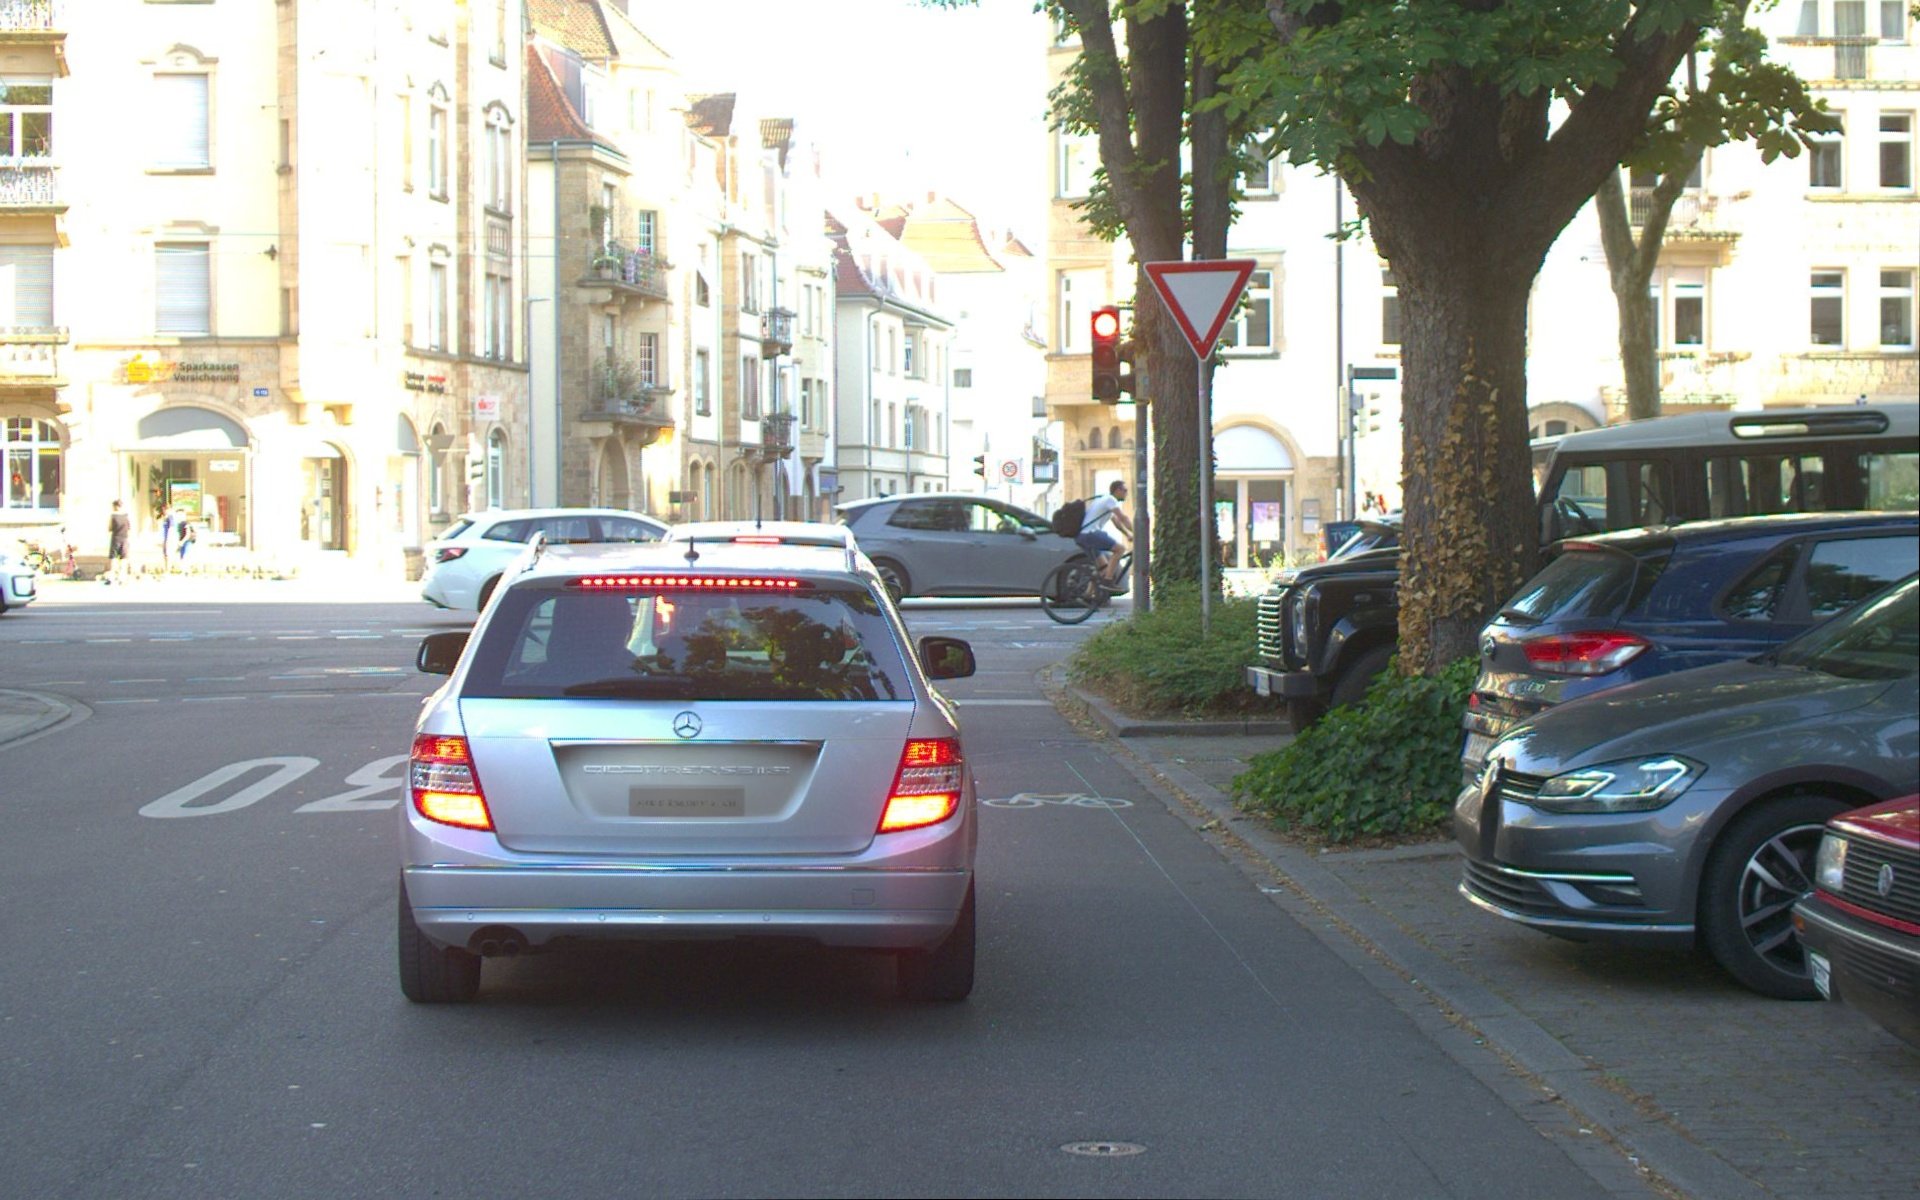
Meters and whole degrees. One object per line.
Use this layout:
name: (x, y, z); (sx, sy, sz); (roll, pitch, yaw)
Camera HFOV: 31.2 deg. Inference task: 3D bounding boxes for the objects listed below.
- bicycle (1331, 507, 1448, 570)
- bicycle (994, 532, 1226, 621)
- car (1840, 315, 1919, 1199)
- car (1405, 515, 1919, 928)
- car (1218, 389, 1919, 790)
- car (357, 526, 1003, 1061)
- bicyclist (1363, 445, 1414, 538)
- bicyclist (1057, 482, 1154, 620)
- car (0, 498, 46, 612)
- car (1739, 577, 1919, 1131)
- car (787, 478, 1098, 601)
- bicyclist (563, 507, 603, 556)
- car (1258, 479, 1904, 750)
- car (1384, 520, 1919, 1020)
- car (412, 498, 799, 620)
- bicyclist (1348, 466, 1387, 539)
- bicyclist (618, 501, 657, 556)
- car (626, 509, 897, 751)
bicycle: (8.631, -1.236, 69.149); (2.256, 1.242, 0.637); (0, 2, -5)
bicycle: (1.811, -0.290, 41.532); (2.682, 1.036, 0.807); (-1, 2, -12)
car: (4.297, 0.328, 6.410); (4.748, 1.868, 1.898); (-2, 1, -6)
car: (3.772, 0.398, 13.459); (3.723, 1.447, 1.709); (-2, 1, -4)
car: (3.792, -0.092, 19.049); (4.464, 2.029, 1.701); (-2, 1, -4)
car: (-0.893, 0.490, 11.784); (1.777, 1.447, 4.549); (0, 2, -3)
bicyclist: (8.609, -2.184, 69.118); (0.891, 1.853, 0.637); (0, 2, -5)
bicyclist: (1.751, -0.598, 41.513); (0.997, 1.648, 0.807); (-1, 2, -12)
car: (-13.739, -0.572, 44.206); (3.685, 1.444, 1.516); (-1, 2, -9)
car: (4.324, 0.566, 8.986); (4.135, 1.311, 1.630); (-2, 1, -6)
car: (-0.261, -0.826, 46.306); (3.965, 1.576, 1.740); (-1, 2, -9)
bicyclist: (-9.015, -1.648, 82.164); (0.771, 1.152, 0.753); (1, 2, 10)
car: (3.907, 0.064, 21.991); (3.723, 1.564, 1.709); (-2, 1, -4)
car: (3.580, 0.459, 11.272); (4.052, 1.447, 1.723); (-2, 1, -4)
car: (-4.437, -0.536, 42.804); (4.660, 1.443, 1.740); (-1, 2, -10)
bicyclist: (8.051, -1.926, 67.911); (0.643, 1.421, 0.637); (0, 2, -6)
bicyclist: (-7.708, -1.711, 82.192); (0.771, 1.285, 0.753); (1, 2, 10)
car: (-1.311, 0.127, 22.876); (1.619, 1.441, 4.345); (0, 2, -3)
